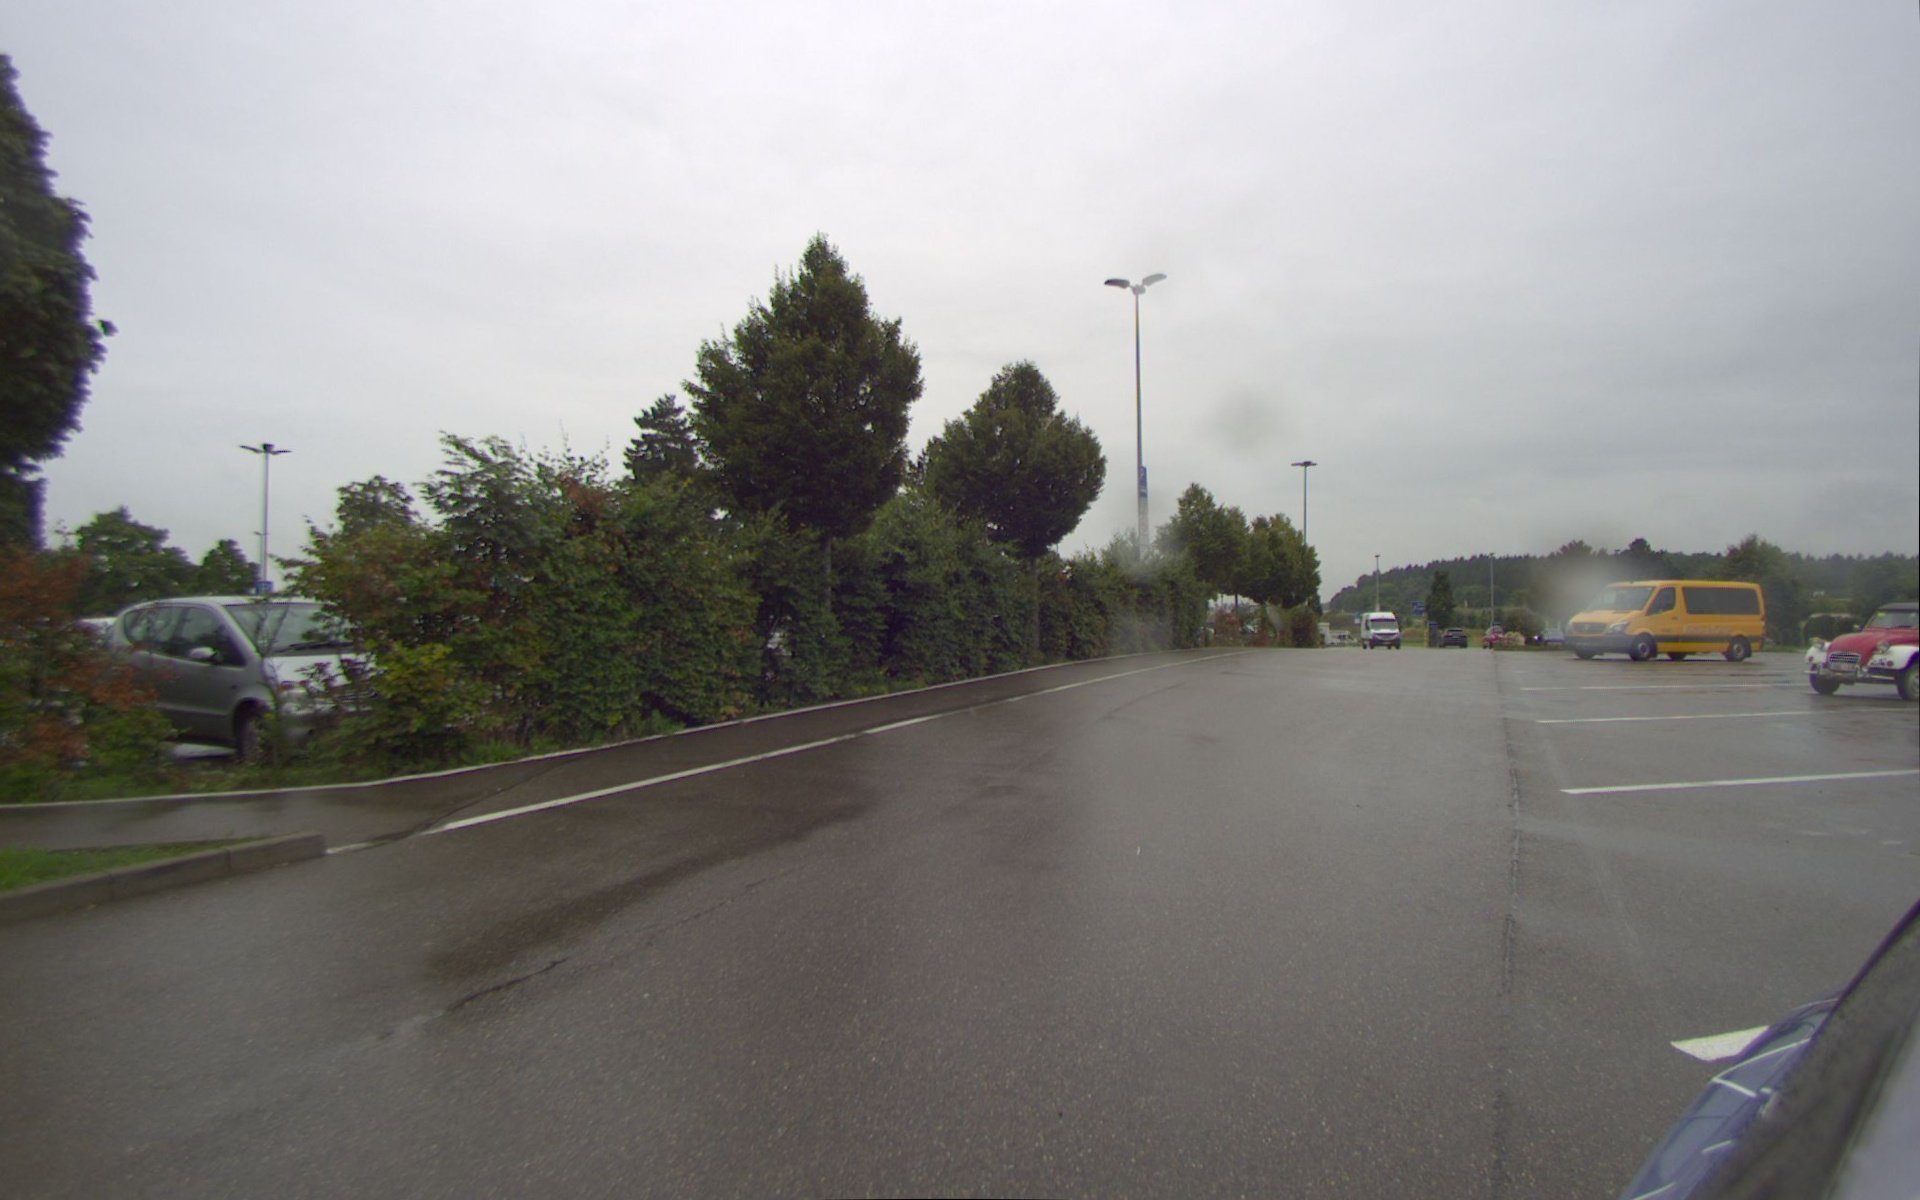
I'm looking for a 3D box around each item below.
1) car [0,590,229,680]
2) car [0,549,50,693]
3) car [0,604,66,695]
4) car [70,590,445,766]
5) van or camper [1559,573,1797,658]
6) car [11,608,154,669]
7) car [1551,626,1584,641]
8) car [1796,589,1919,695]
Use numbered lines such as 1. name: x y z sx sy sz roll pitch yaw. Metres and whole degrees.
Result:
1. car: -15.907 0.589 18.921 4.726 1.490 1.866 0 0 30
2. car: -16.963 0.335 16.355 4.726 2.216 1.980 0 0 30
3. car: -22.187 1.074 22.562 4.357 1.909 1.908 0 0 27
4. car: -7.173 0.735 10.310 3.628 1.531 1.535 -2 -1 25
5. van or camper: 20.613 0.406 29.069 6.282 2.275 2.139 0 0 -16
6. car: -26.543 1.111 30.604 4.002 1.714 1.700 0 0 23
7. car: 48.294 2.618 80.516 1.690 1.013 3.738 0 0 23
8. car: 15.767 0.627 16.219 3.971 1.575 1.553 0 0 -13
